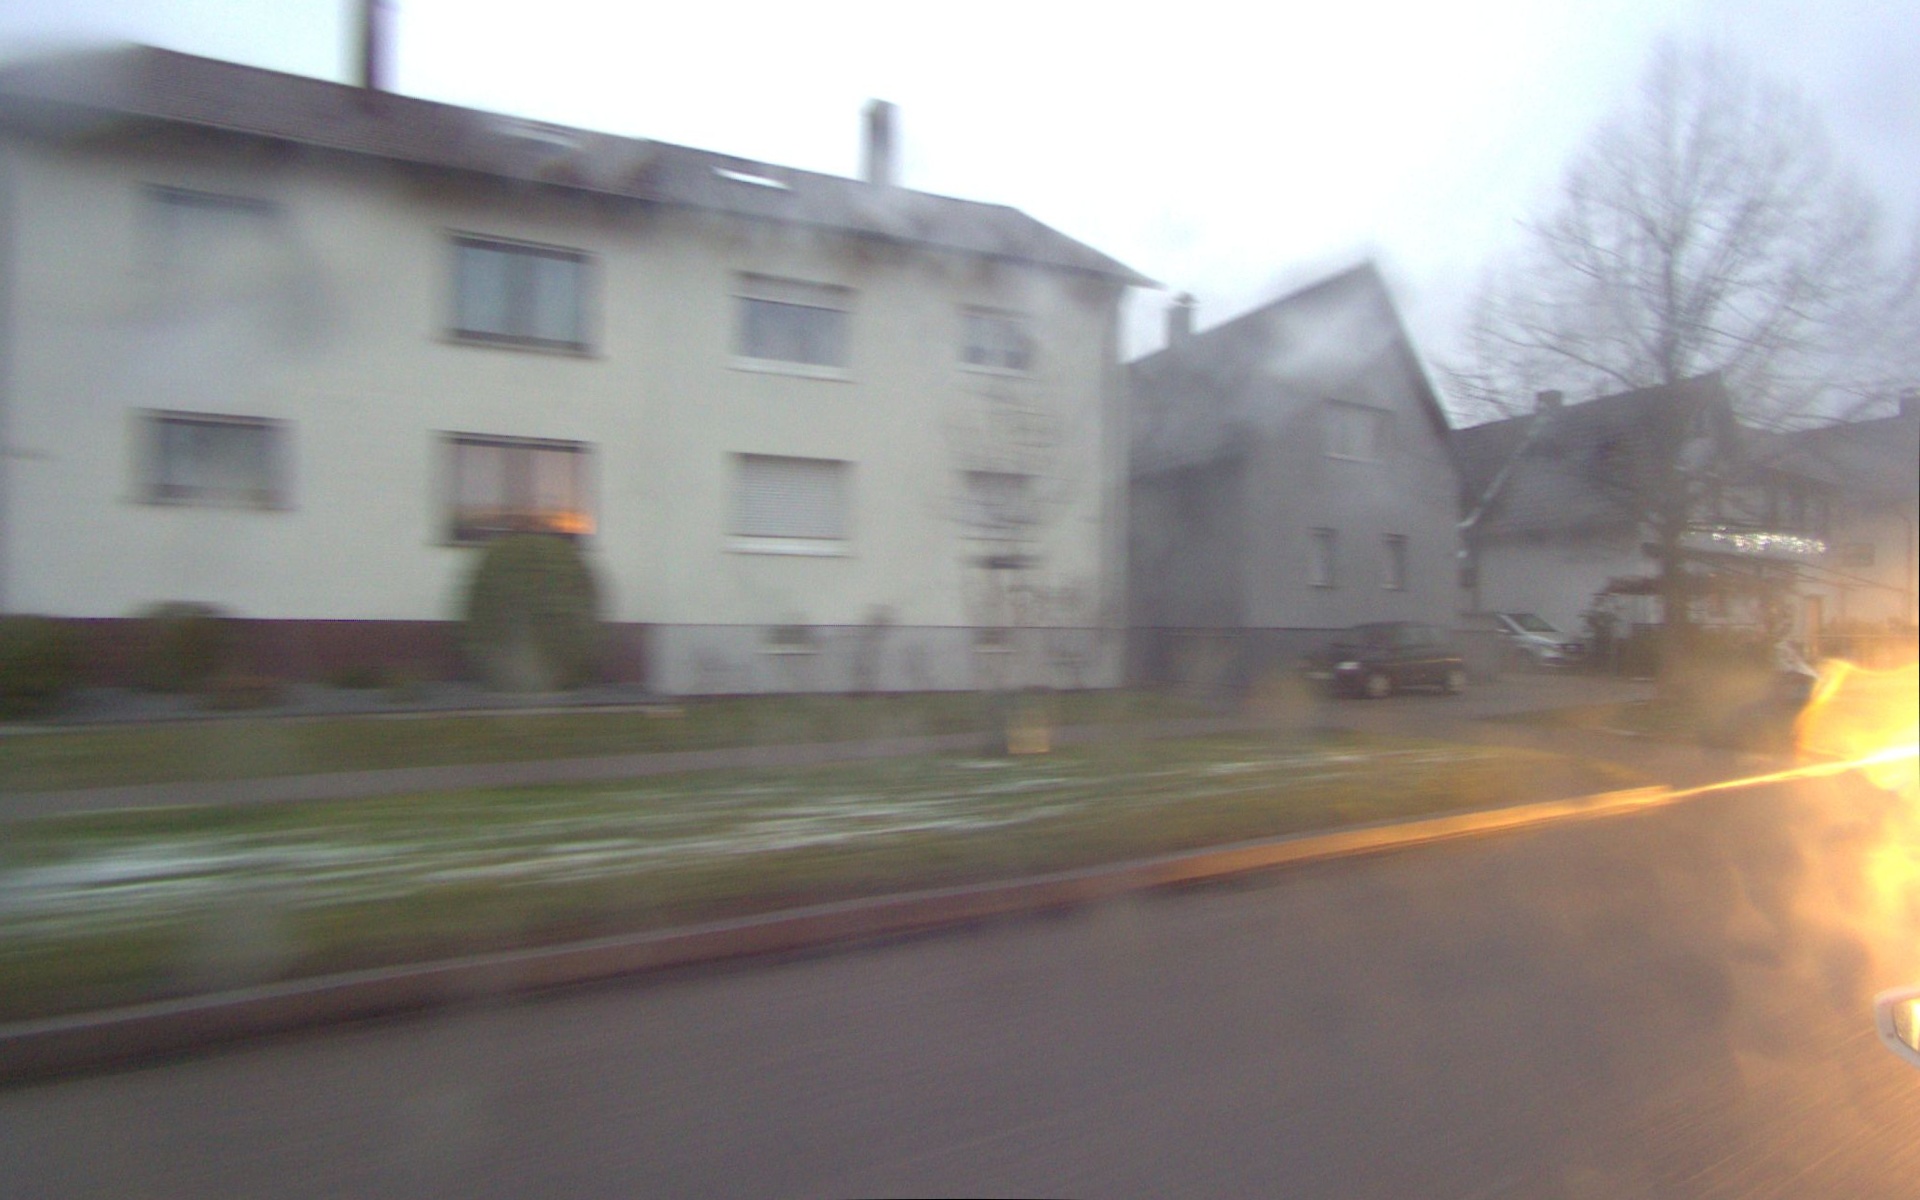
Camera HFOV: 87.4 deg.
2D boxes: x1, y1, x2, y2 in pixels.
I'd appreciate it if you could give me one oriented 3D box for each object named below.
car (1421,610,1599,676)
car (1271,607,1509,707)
[{"bbox_3d":[16.348,1.235,30.134,1.884,1.824,4.544,1,-1,-22],"label":"car"},{"bbox_3d":[8.504,1.074,19.782,4.512,1.779,1.985,1,-1,-29],"label":"car"}]
